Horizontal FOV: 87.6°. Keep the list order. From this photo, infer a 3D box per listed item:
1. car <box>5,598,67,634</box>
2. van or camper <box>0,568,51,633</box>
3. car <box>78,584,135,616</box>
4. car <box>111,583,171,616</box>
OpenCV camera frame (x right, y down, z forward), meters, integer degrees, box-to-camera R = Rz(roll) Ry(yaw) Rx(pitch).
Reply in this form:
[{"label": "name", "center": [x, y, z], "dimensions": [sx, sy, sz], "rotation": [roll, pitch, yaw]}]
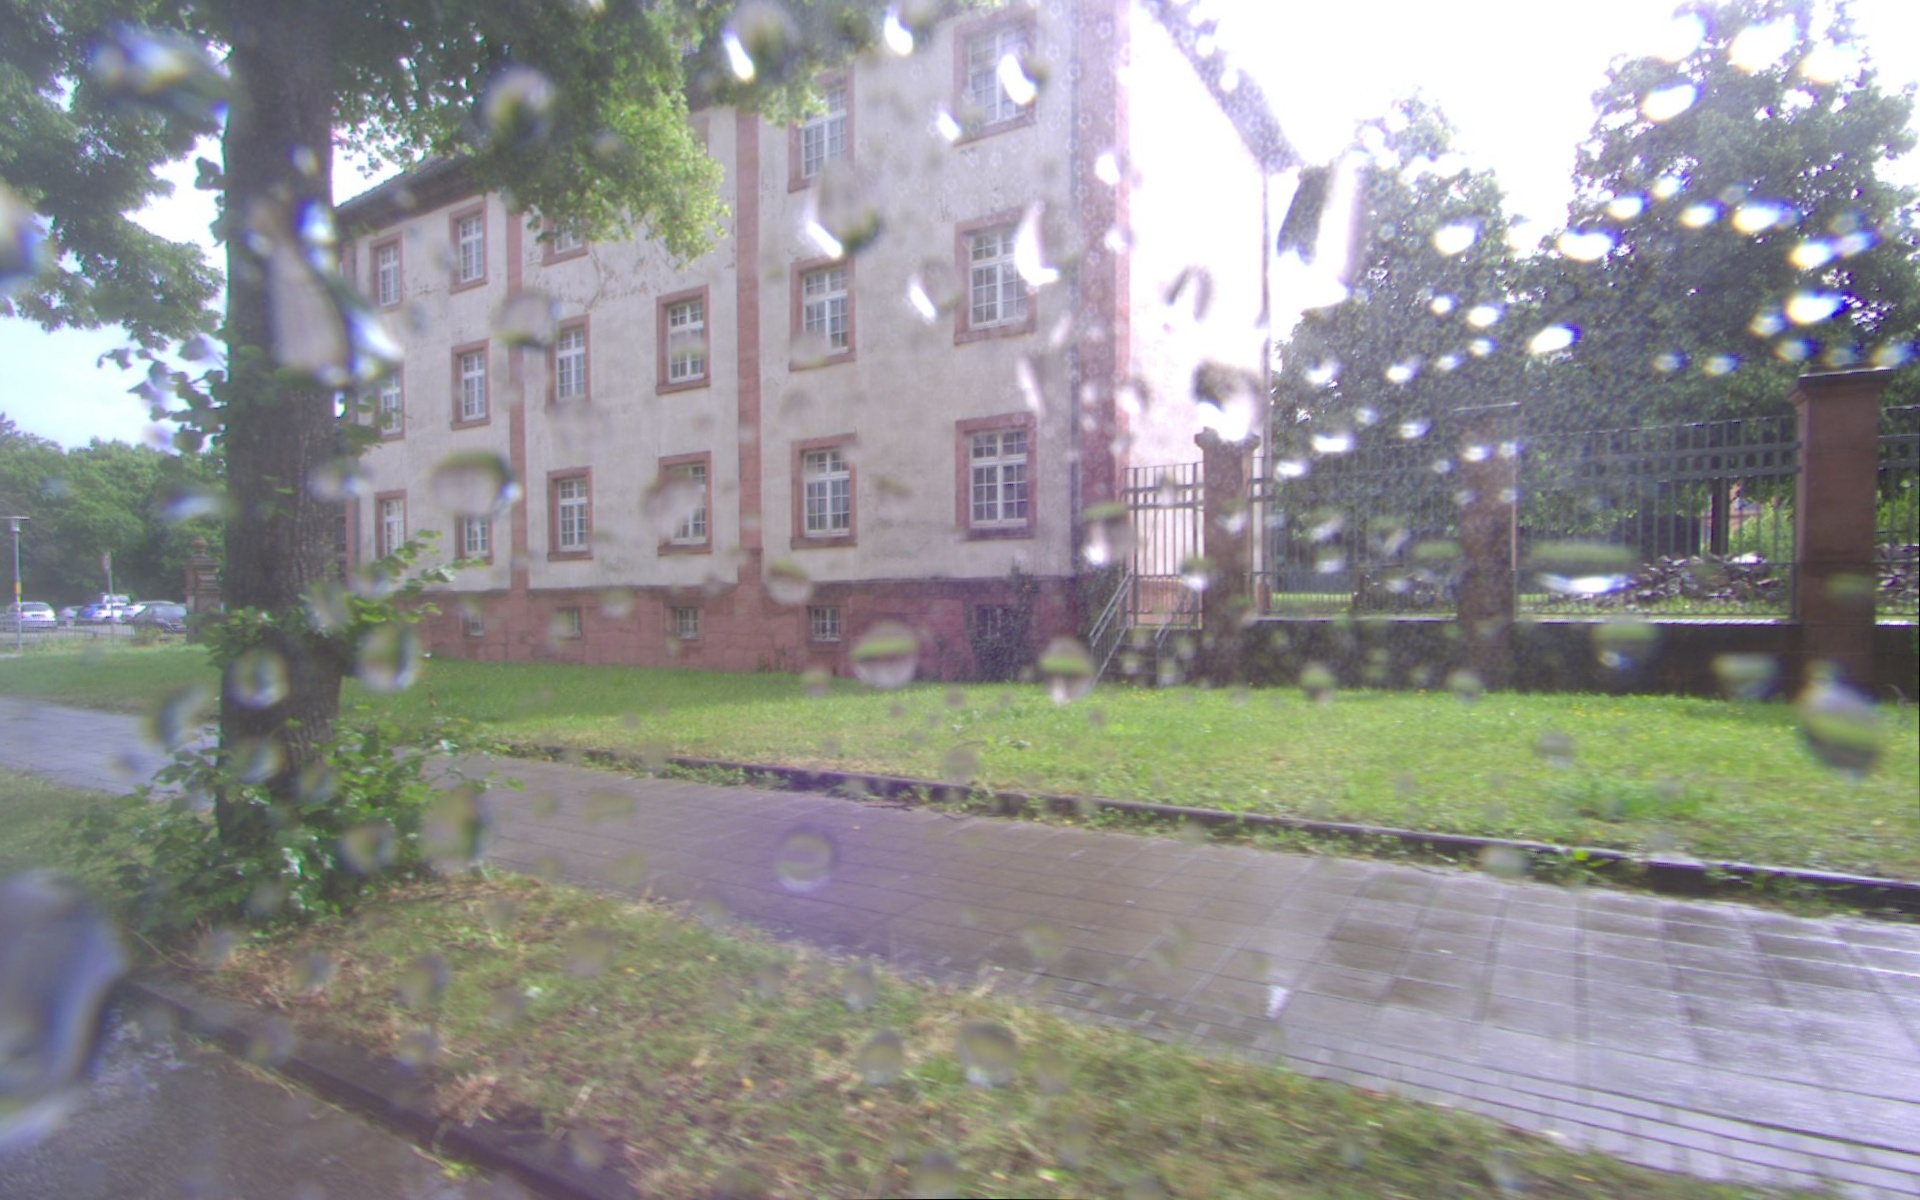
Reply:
[{"label": "car", "center": [-48.447, 0.807, 52.487], "dimensions": [3.822, 1.707, 1.734], "rotation": [0, 3, 39]}, {"label": "van or camper", "center": [-40.523, 0.040, 40.583], "dimensions": [2.136, 2.630, 5.023], "rotation": [0, 1, 31]}, {"label": "car", "center": [-57.259, 0.002, 67.186], "dimensions": [3.948, 2.041, 1.986], "rotation": [0, 3, 36]}, {"label": "car", "center": [-52.736, -0.035, 64.451], "dimensions": [3.948, 2.041, 1.986], "rotation": [0, 3, 36]}]
